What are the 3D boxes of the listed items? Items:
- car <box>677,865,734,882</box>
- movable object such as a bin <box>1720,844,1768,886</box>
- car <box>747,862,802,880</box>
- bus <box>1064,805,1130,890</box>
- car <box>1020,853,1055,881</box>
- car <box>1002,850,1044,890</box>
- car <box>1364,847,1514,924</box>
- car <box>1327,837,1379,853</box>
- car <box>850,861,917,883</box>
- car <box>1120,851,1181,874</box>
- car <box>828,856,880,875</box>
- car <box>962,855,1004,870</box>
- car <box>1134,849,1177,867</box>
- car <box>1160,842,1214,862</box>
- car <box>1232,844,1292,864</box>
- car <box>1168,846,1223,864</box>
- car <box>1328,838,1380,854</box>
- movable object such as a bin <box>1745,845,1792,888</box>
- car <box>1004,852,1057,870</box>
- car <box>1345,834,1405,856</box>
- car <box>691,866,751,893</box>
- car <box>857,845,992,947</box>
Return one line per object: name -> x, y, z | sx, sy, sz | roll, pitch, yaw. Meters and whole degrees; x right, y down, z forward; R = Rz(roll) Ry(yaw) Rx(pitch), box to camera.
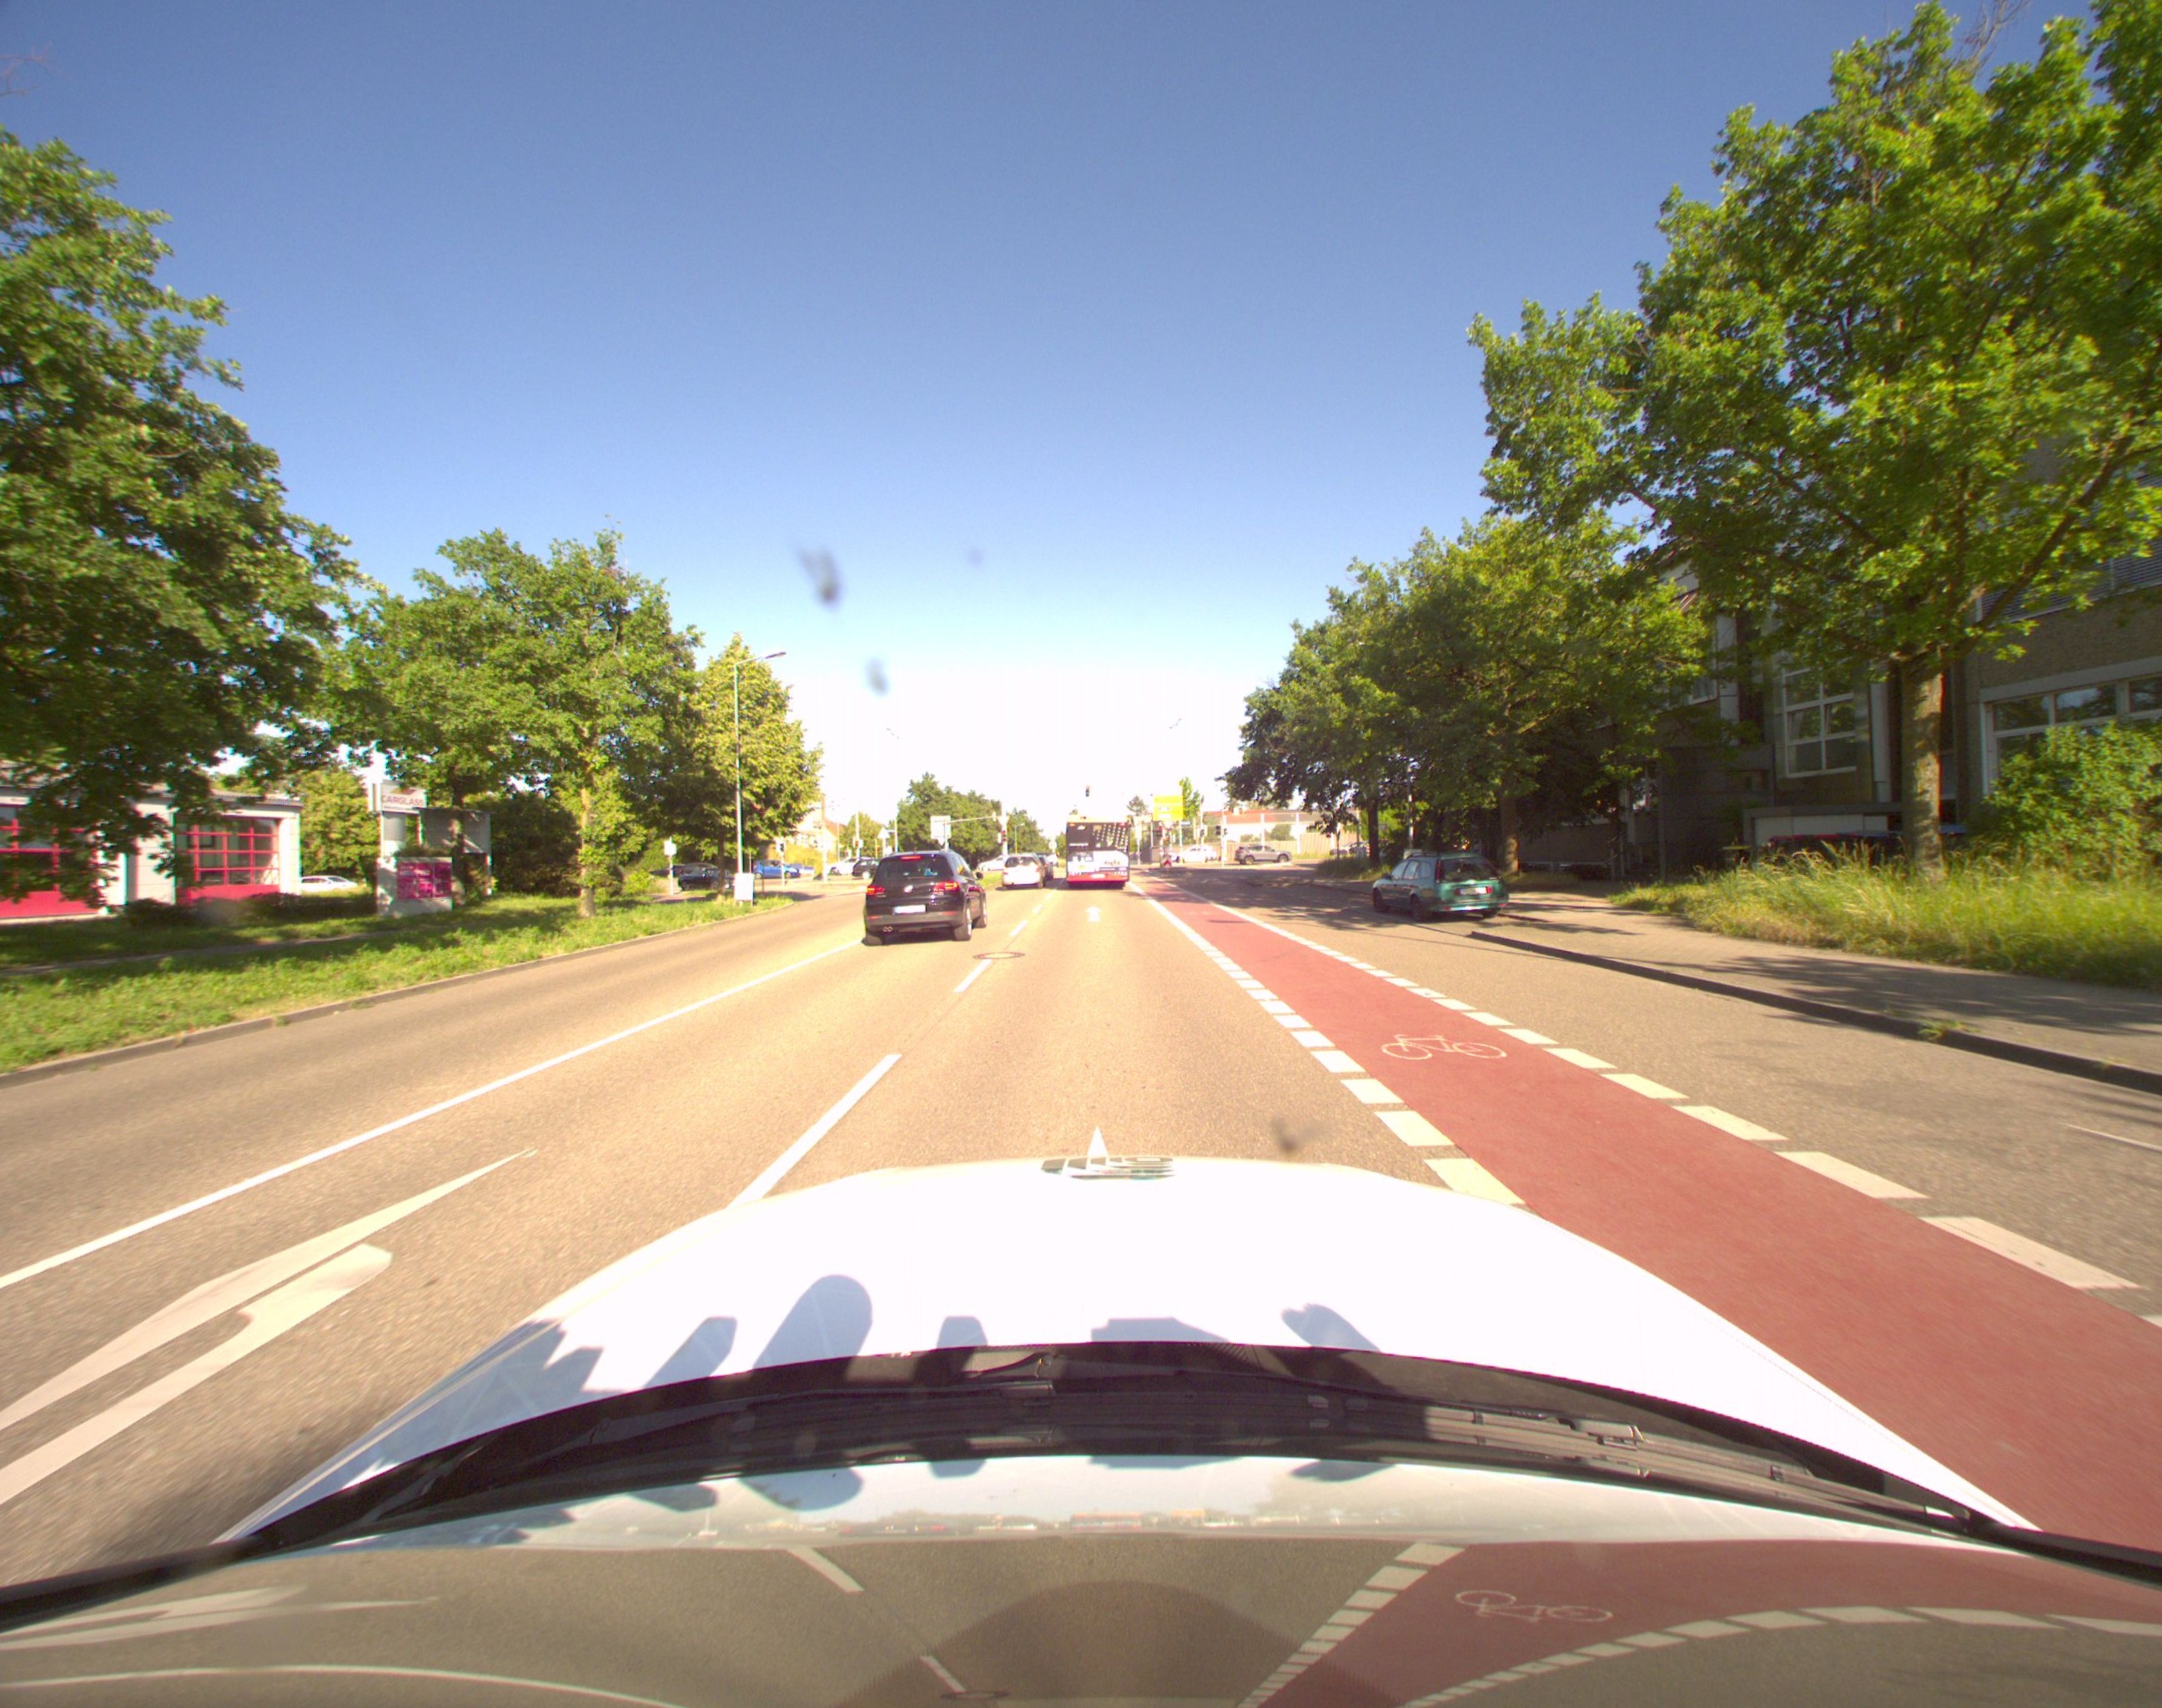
car -> -30.038, 1.589, 65.258 | 3.843, 1.313, 1.504 | 0, -1, -8
movable object such as a bin -> 16.602, 0.273, 20.393 | 0.710, 1.032, 0.581 | -1, 0, 0
car -> -24.728, 1.352, 65.865 | 3.843, 1.385, 1.678 | 0, -1, -8
bus -> 0.771, -0.254, 38.138 | 2.587, 3.334, 11.986 | 0, 0, 1
car -> -2.404, 0.709, 45.824 | 1.582, 1.485, 3.683 | -2, -1, 2
car -> -2.627, 0.671, 36.787 | 1.751, 1.620, 4.027 | -2, 1, -5
car -> 7.809, 0.637, 18.208 | 1.586, 1.428, 4.205 | -3, -1, 2
car -> 24.246, -0.809, 72.590 | 4.149, 1.302, 1.573 | 0, -1, -3
car -> -14.518, 1.307, 60.004 | 4.453, 1.441, 1.680 | -2, 0, -4
car -> 4.178, 0.489, 48.824 | 3.501, 1.302, 1.579 | -1, 0, 9
car -> -20.049, 1.021, 72.009 | 4.391, 1.683, 1.703 | 0, -1, -15
car -> -9.172, 0.779, 76.471 | 3.839, 1.340, 1.680 | 0, -1, -5
car -> 7.431, 0.377, 81.301 | 3.980, 1.612, 1.692 | -2, 0, -5
car -> 8.891, -0.150, 68.511 | 4.212, 1.562, 1.761 | 0, -1, -4
car -> 13.950, -0.024, 62.943 | 4.212, 1.480, 1.761 | 0, -1, -4
car -> 10.577, 0.057, 75.316 | 4.691, 1.540, 1.998 | -1, 0, -3
car -> 25.643, -0.713, 76.592 | 4.403, 1.459, 1.573 | 0, -1, -3
movable object such as a bin -> 16.634, 0.298, 19.712 | 0.626, 1.007, 0.576 | 0, -1, 0
car -> -4.585, 0.636, 73.839 | 4.694, 1.540, 1.997 | -1, 0, -5
car -> 18.117, -0.556, 50.194 | 3.412, 1.296, 1.449 | 0, -1, -24
car -> -22.787, 1.630, 51.450 | 2.012, 1.403, 4.531 | -5, 0, -43
car -> -2.876, 0.748, 15.835 | 1.815, 1.673, 4.001 | -2, -1, -1
